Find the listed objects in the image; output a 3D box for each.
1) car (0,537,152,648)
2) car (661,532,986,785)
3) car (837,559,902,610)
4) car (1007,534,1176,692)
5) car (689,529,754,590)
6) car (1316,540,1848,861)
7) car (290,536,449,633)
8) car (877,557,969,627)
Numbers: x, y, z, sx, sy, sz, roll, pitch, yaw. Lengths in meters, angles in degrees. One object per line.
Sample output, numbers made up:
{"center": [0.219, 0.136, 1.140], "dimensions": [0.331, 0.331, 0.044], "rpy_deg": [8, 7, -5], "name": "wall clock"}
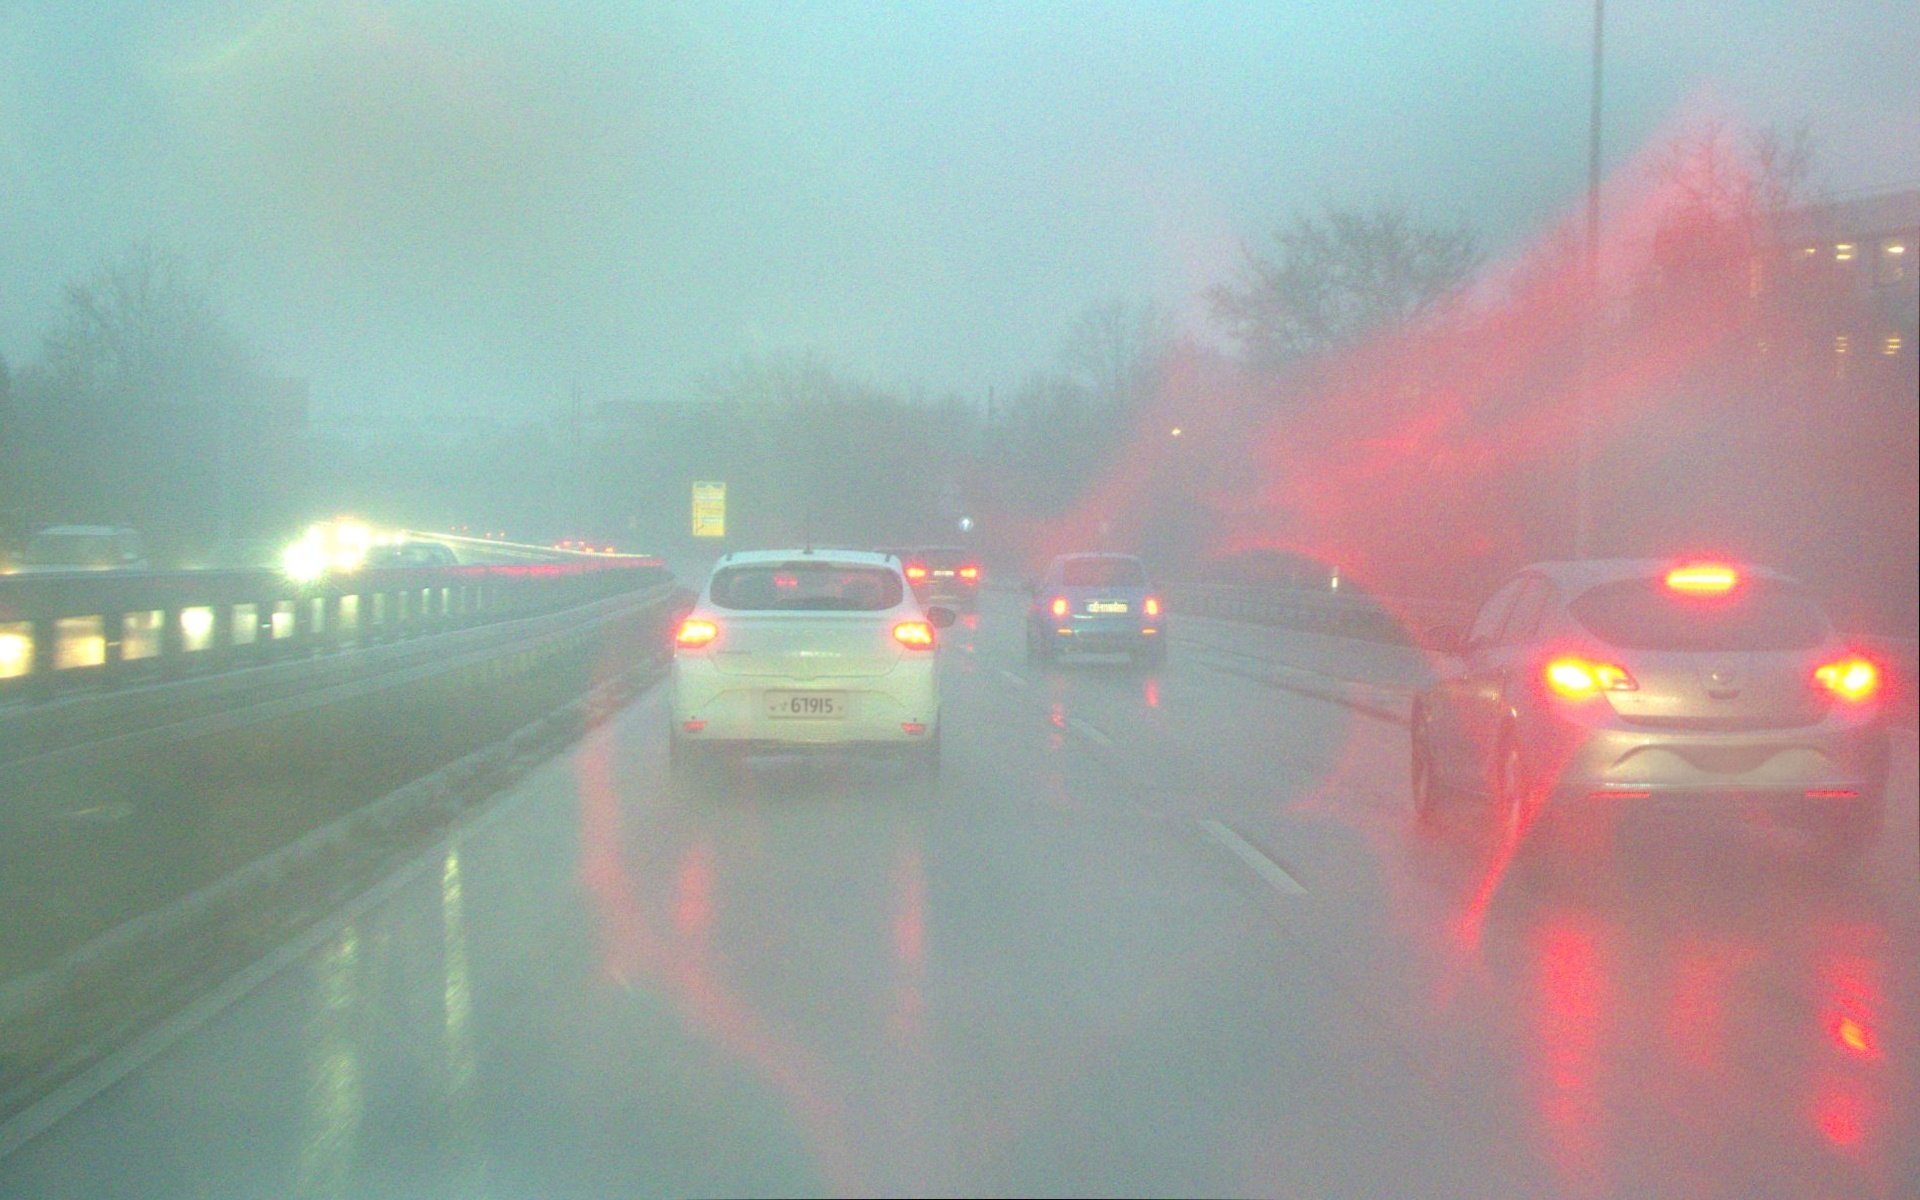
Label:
{"center": [-13.880, -0.145, 53.029], "dimensions": [1.866, 1.622, 4.780], "rpy_deg": [1, 1, -2], "name": "car"}
{"center": [-1.018, 0.344, 23.654], "dimensions": [2.024, 1.569, 4.001], "rpy_deg": [1, 1, -5], "name": "car"}
{"center": [-2.907, -0.509, 109.602], "dimensions": [1.932, 1.541, 3.774], "rpy_deg": [1, 1, -3], "name": "car"}
{"center": [1.723, 0.139, 46.232], "dimensions": [1.932, 2.012, 3.774], "rpy_deg": [1, 1, -3], "name": "car"}
{"center": [-8.194, -1.396, 118.414], "dimensions": [1.993, 2.007, 4.000], "rpy_deg": [1, 1, -1], "name": "car"}
{"center": [3.166, 0.449, 18.395], "dimensions": [1.849, 1.496, 4.263], "rpy_deg": [1, 1, -3], "name": "car"}
{"center": [-9.265, -0.268, 54.256], "dimensions": [1.866, 1.444, 4.646], "rpy_deg": [1, 1, -2], "name": "car"}
{"center": [-0.961, -0.216, 86.306], "dimensions": [1.932, 1.541, 3.774], "rpy_deg": [-5, 1, -4], "name": "car"}
